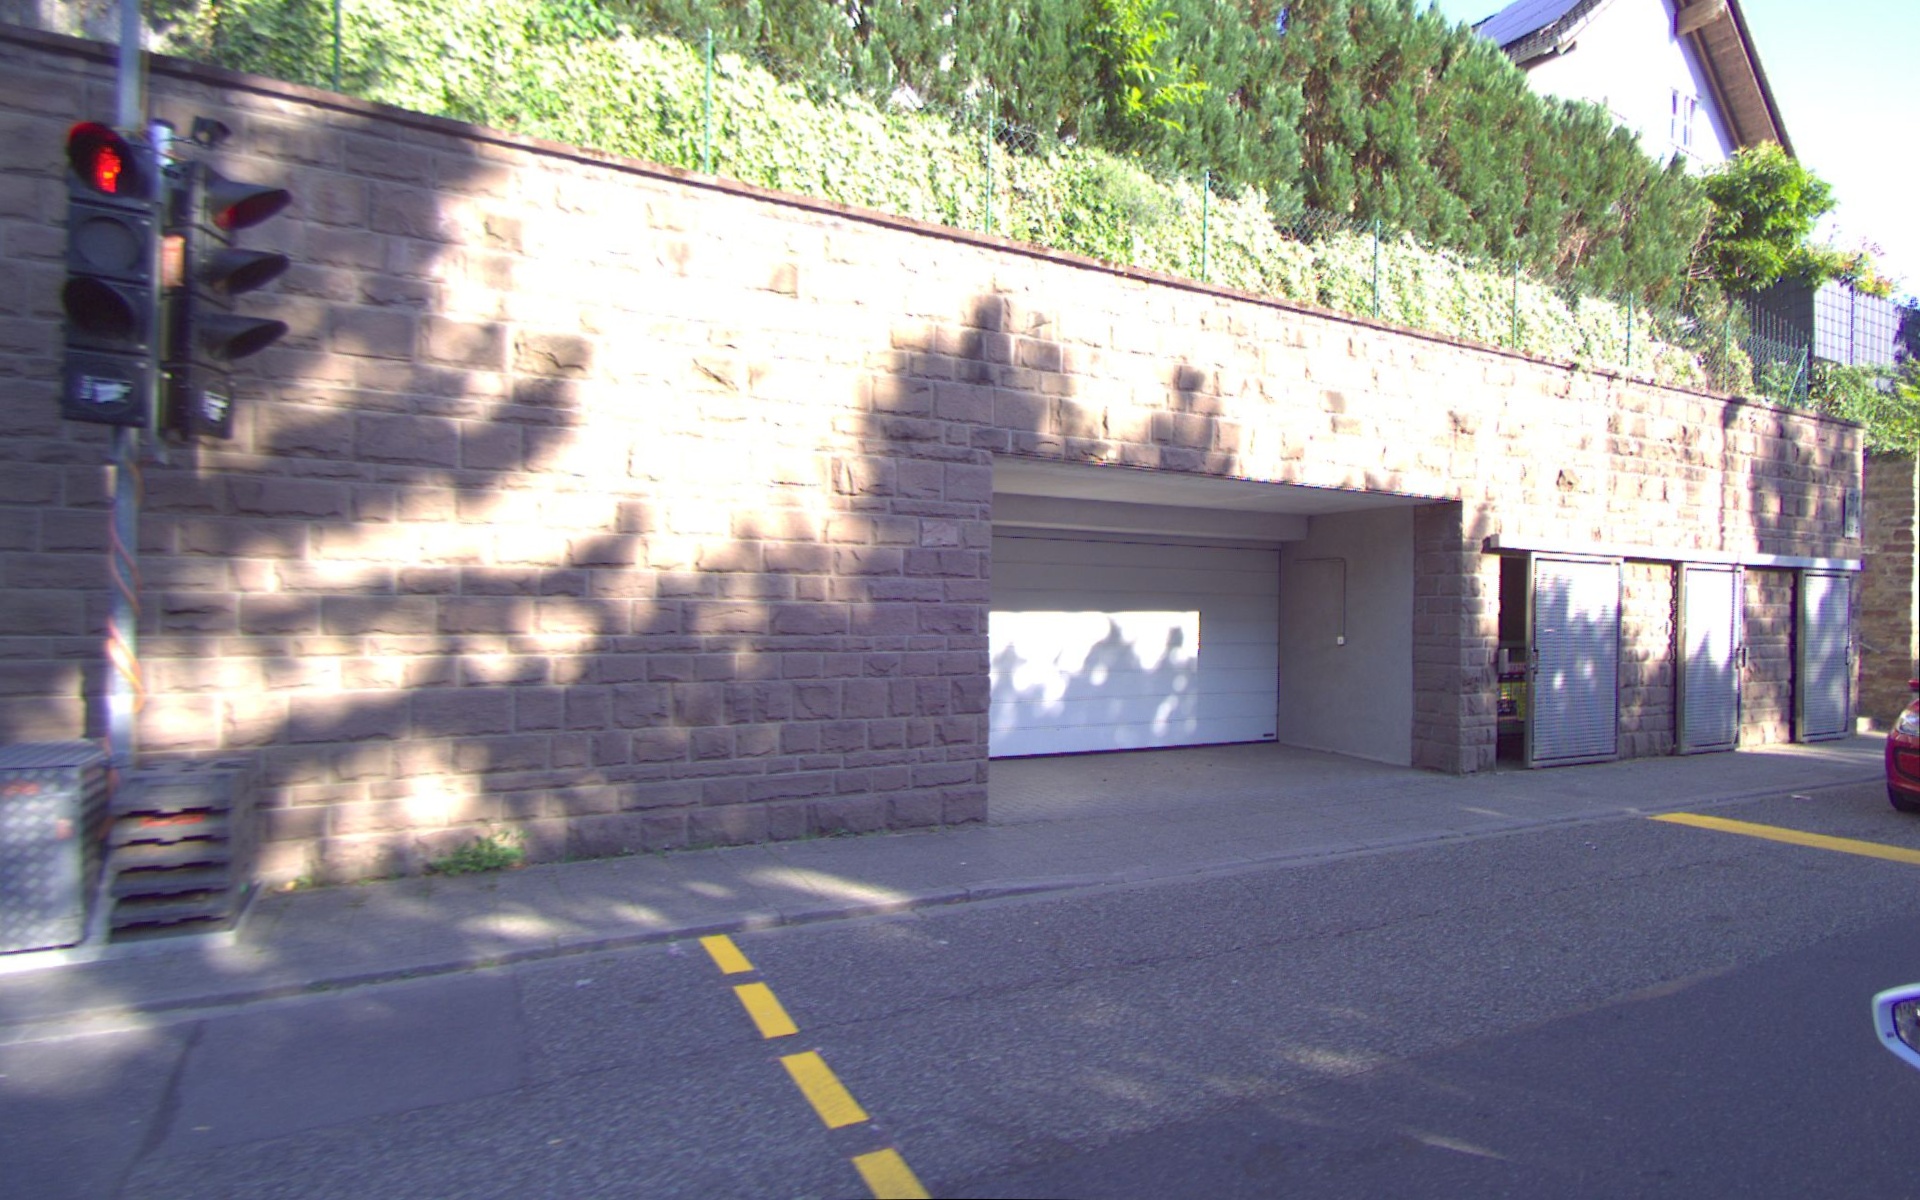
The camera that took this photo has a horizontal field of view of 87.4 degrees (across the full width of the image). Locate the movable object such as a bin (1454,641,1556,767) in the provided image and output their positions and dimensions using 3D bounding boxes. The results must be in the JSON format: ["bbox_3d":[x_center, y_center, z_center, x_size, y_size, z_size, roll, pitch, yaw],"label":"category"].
[{"bbox_3d":[5.475,1.021,10.107,0.657,1.191,0.656,1,-1,-27],"label":"movable object such as a bin"}]

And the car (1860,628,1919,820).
[{"bbox_3d":[8.972,0.950,8.034,3.520,1.440,1.619,1,-1,-30],"label":"car"}]
